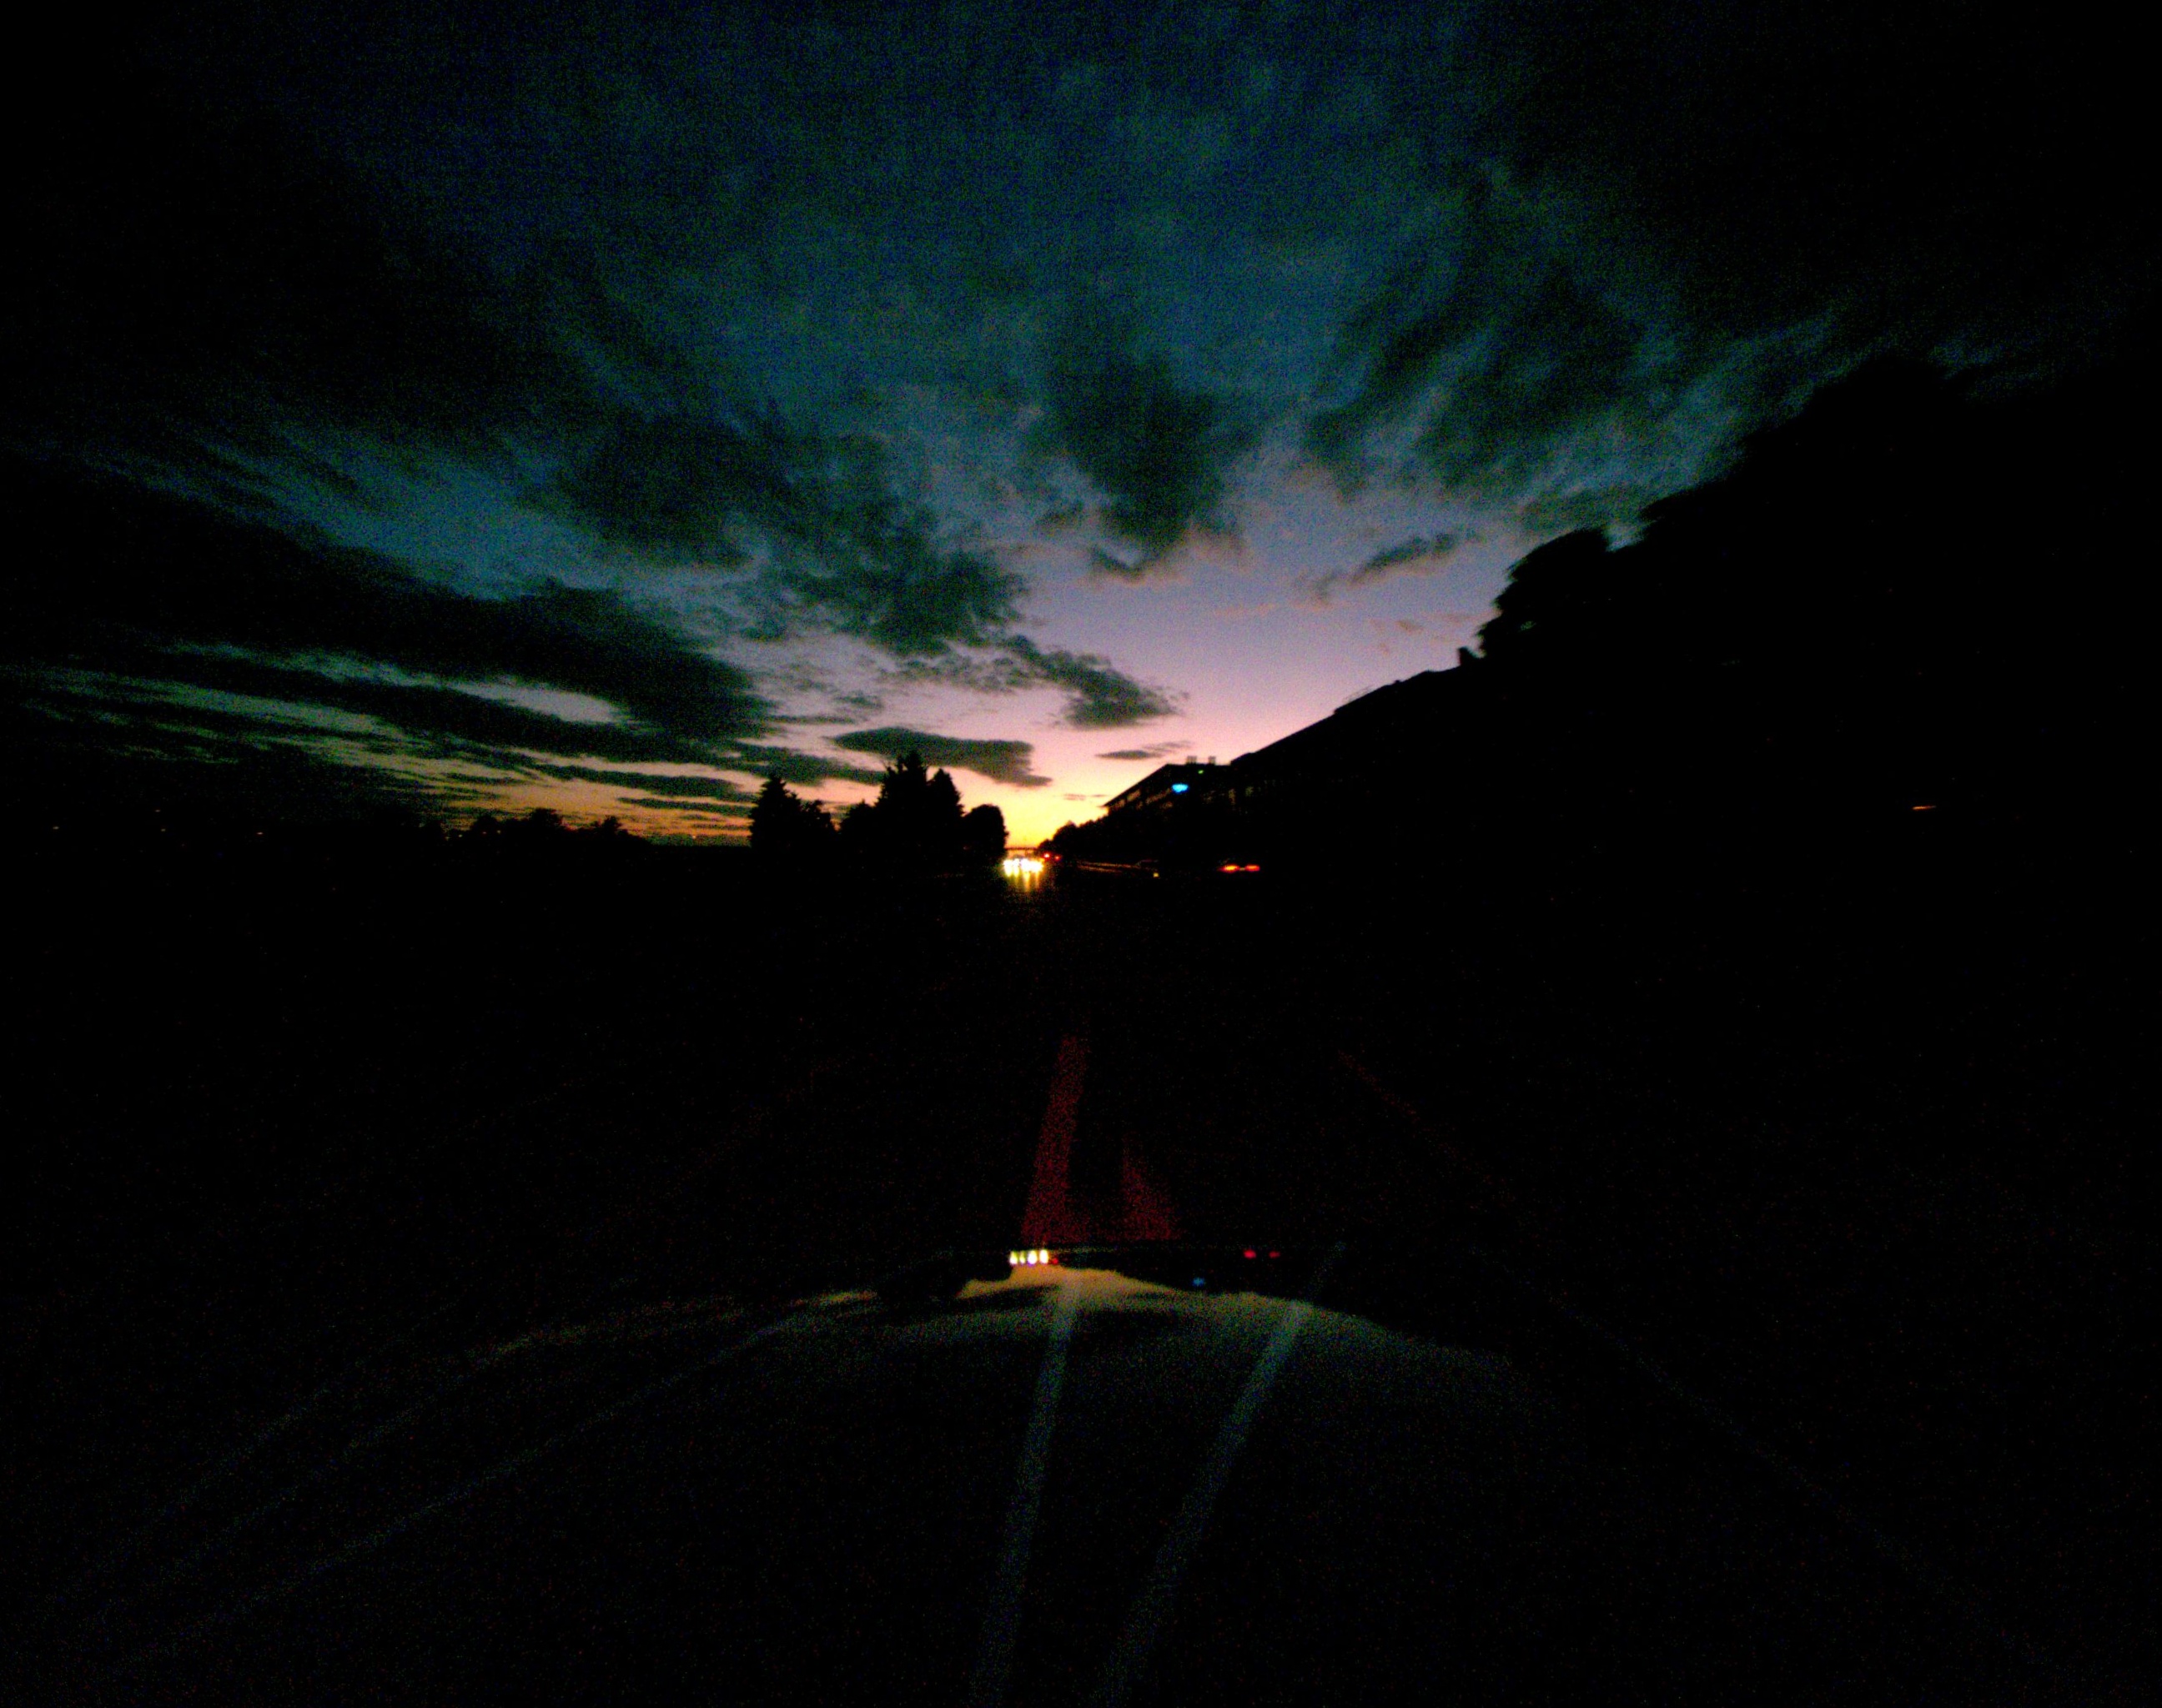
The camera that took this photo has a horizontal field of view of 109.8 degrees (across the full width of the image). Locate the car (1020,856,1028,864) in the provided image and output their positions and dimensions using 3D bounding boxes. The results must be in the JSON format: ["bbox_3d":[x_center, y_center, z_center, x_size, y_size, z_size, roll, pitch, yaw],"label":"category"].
[{"bbox_3d":[-13.793,1.465,183.548,1.833,1.739,3.850,-3,0,-2],"label":"car"}]

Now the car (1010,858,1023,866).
[{"bbox_3d":[-12.726,1.530,151.037,1.998,1.574,4.001,-2,0,2],"label":"car"}]

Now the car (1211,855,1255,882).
[{"bbox_3d":[9.627,0.888,48.293,1.706,1.613,4.306,-1,0,-3],"label":"car"}]

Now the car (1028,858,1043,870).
[{"bbox_3d":[-5.681,1.199,94.246,1.756,1.447,3.802,-2,0,-4],"label":"car"}]

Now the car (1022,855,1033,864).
[{"bbox_3d":[-11.682,1.224,167.141,1.861,2.002,4.000,-2,0,2],"label":"car"}]

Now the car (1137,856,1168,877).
[{"bbox_3d":[5.344,0.942,57.120,1.697,1.524,3.999,-1,0,-4],"label":"car"}]
